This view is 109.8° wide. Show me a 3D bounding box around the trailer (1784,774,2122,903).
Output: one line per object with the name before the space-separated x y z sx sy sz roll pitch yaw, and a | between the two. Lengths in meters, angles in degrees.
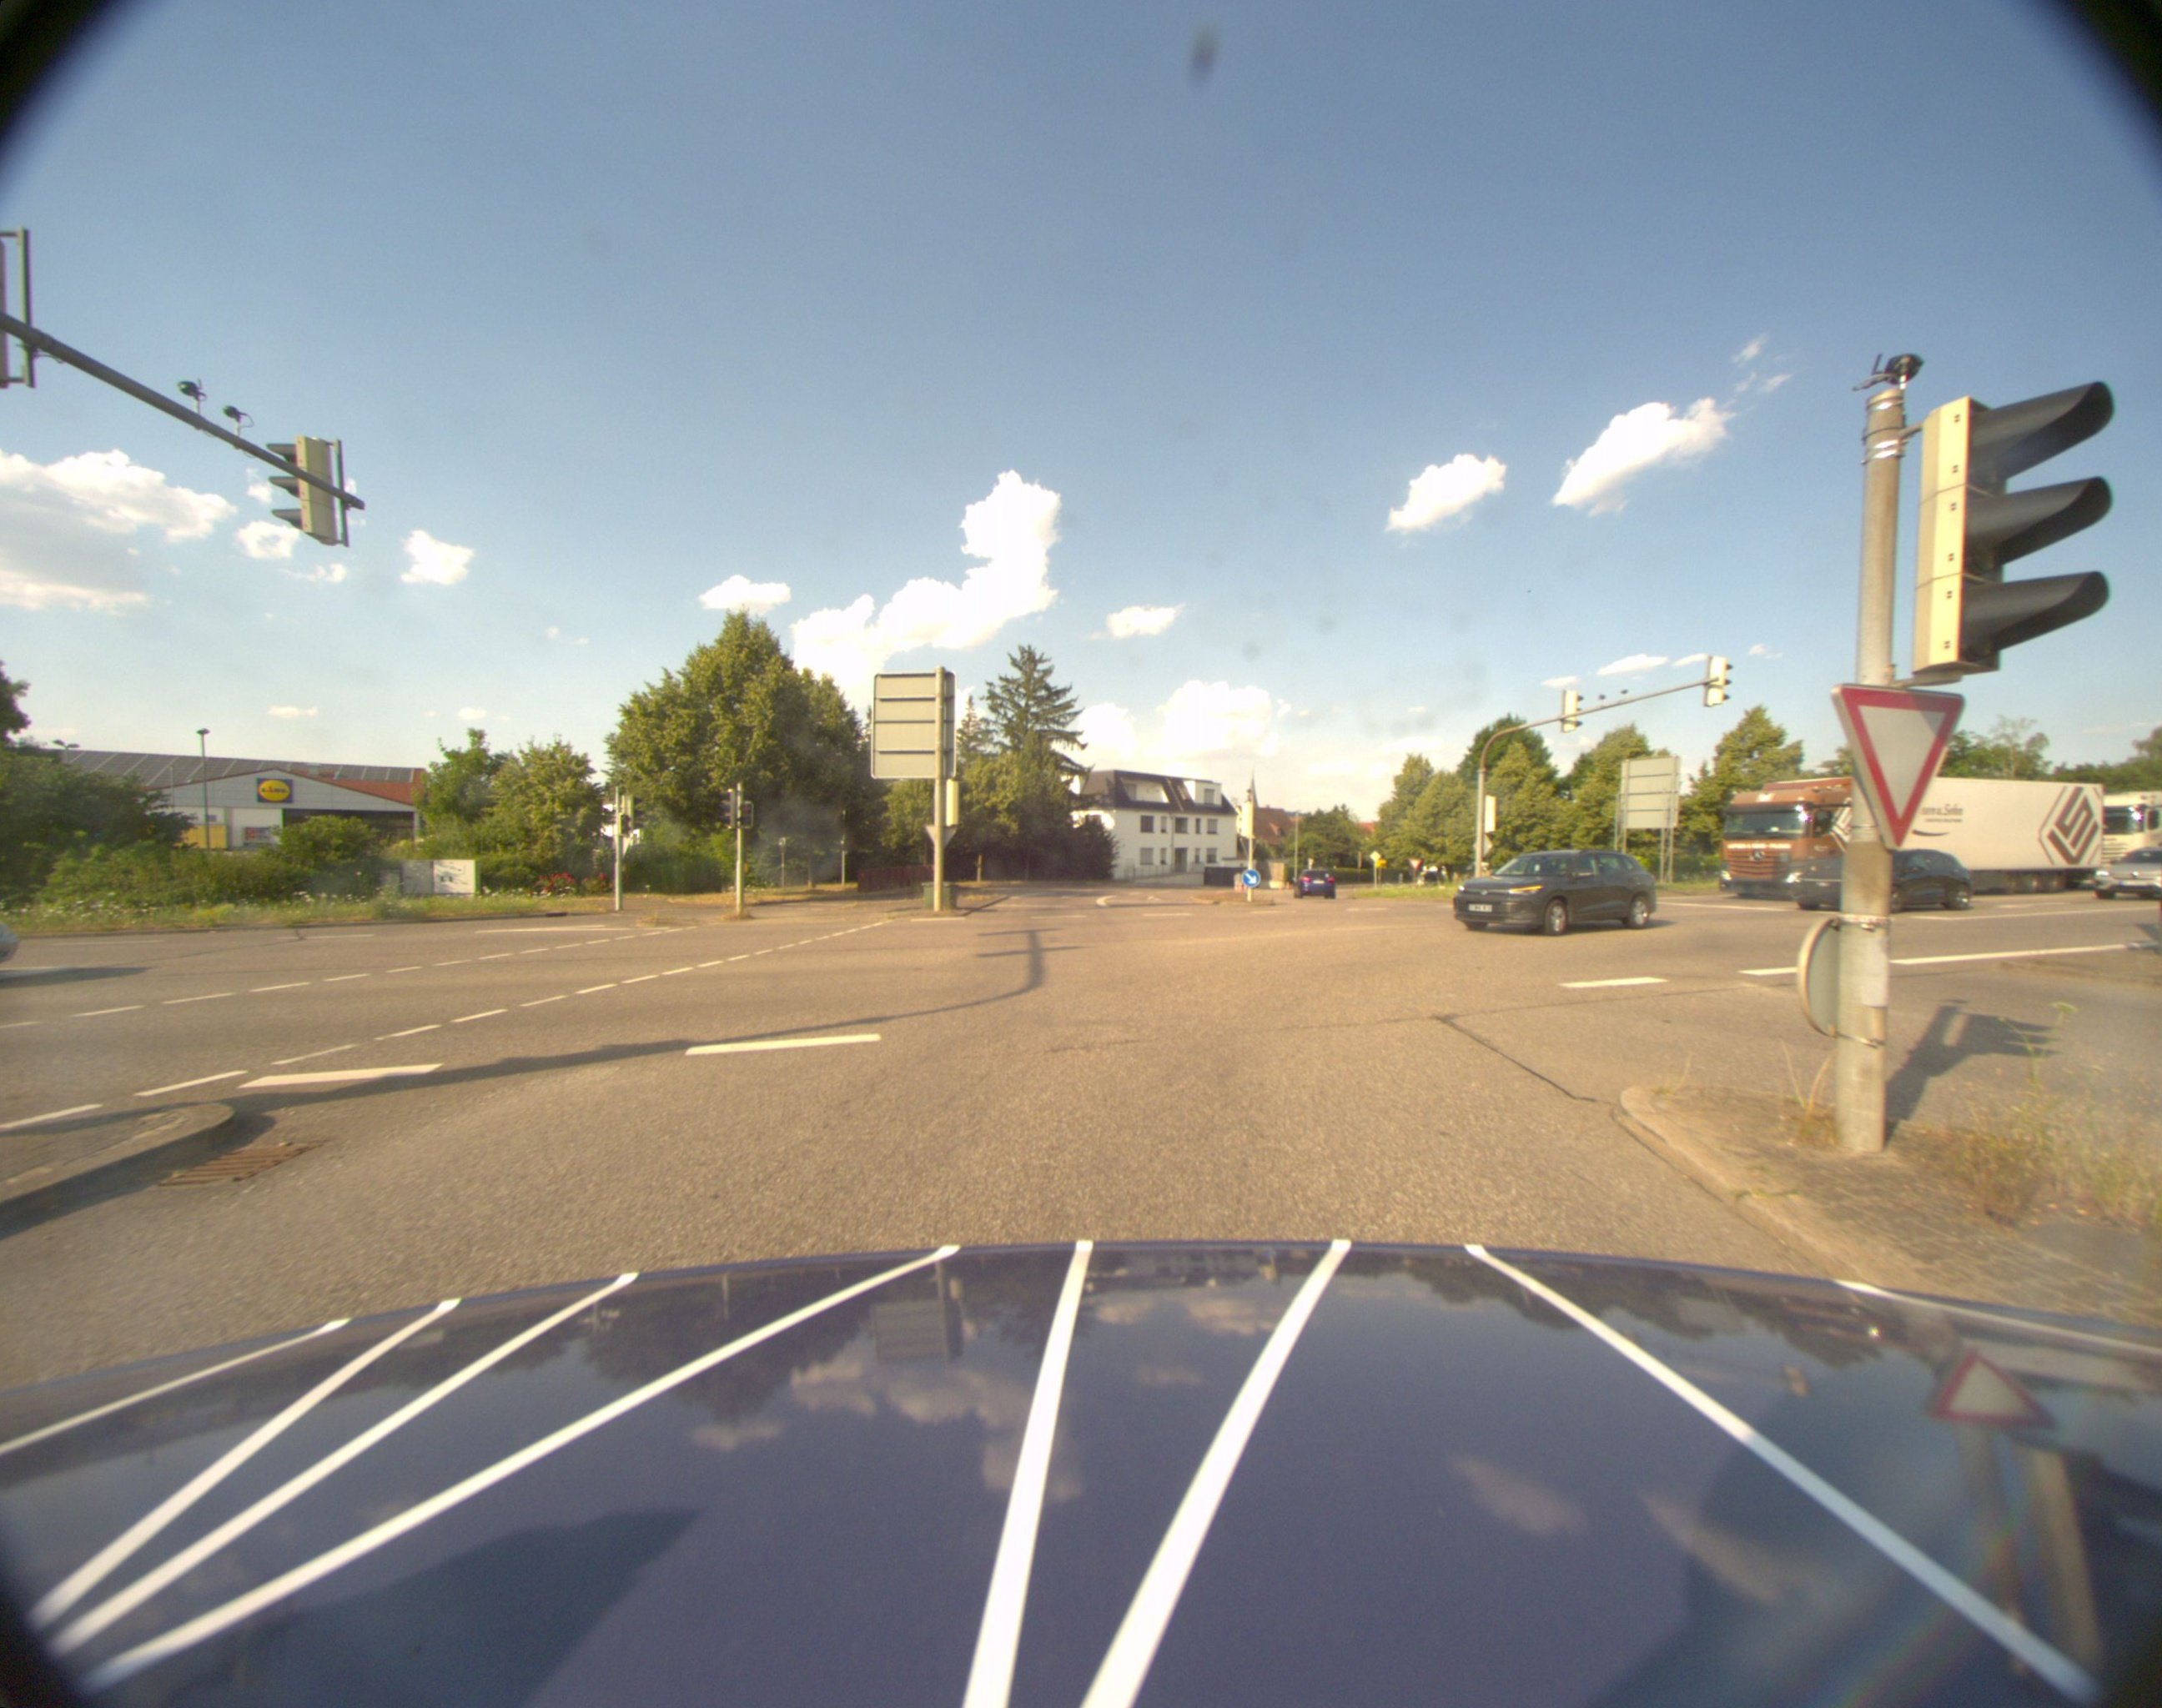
trailer | 31.368 -0.493 27.135 14.347 4.043 2.536 0 0 -18

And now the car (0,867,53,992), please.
car | -15.326 0.936 8.127 4.957 1.504 1.860 -1 0 -19

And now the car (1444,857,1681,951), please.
car | 9.691 0.911 15.276 4.474 1.619 1.786 -1 0 -23

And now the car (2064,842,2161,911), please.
car | 33.292 0.641 23.664 4.375 1.936 1.905 -2 0 -19

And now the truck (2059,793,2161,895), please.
truck | 42.049 -0.390 30.098 5.690 3.782 2.259 -1 0 -19

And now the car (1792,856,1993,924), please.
car | 21.181 0.883 19.857 4.551 1.603 1.774 -1 0 -17

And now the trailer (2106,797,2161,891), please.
trailer | 47.324 -0.439 31.864 9.533 3.754 2.263 -1 -1 -19

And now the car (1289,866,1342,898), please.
car | 11.758 1.440 38.340 1.791 1.488 4.307 -2 -3 7

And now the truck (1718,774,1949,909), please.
truck | 24.655 -0.398 24.923 6.667 4.019 2.536 -1 0 -18
